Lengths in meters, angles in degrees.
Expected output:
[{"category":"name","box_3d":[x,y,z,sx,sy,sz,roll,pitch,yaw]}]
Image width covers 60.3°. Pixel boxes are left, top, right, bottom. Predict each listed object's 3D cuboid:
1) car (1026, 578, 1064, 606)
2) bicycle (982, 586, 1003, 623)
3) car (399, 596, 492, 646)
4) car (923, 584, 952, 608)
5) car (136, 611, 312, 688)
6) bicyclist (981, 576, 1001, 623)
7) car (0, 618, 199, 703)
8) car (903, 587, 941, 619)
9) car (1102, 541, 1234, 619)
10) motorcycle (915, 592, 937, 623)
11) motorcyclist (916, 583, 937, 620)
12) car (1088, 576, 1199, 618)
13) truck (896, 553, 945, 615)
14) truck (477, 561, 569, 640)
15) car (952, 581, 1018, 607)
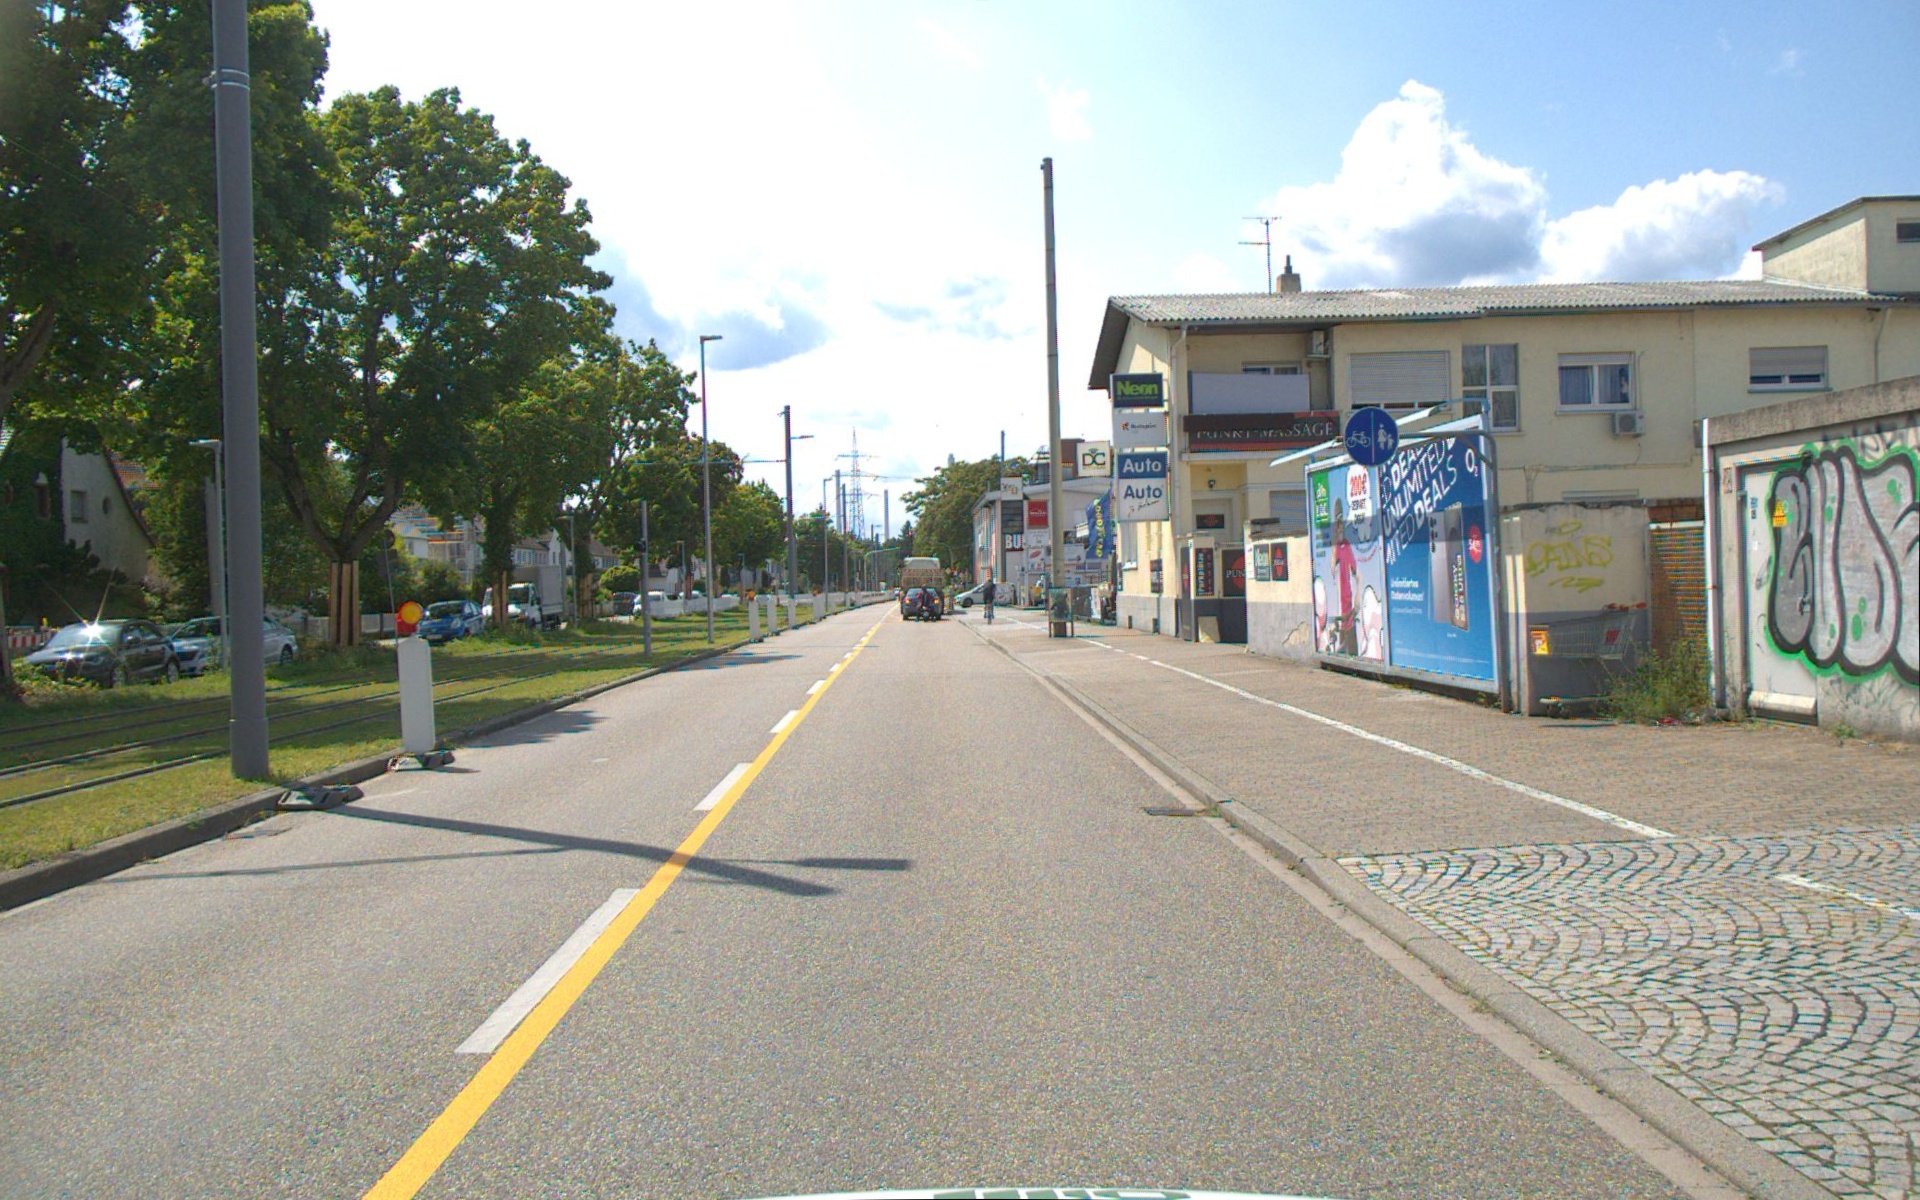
[{"category":"car","box_3d":[5.402,-0.516,105.830,1.920,1.677,3.997,-3,0,-4]},{"category":"bicycle","box_3d":[1.242,0.164,63.724,0.679,1.385,2.418,-2,0,-2]},{"category":"car","box_3d":[-16.950,0.677,54.698,1.954,1.478,3.997,-3,0,-3]},{"category":"car","box_3d":[-1.479,-0.253,108.032,1.785,1.489,3.999,-1,0,-1]},{"category":"car","box_3d":[-16.432,1.046,37.208,1.768,1.508,4.938,-3,0,-1]},{"category":"bicyclist","box_3d":[1.190,-0.024,63.738,0.658,1.774,0.813,-2,0,-2]},{"category":"car","box_3d":[-16.384,1.110,31.554,1.954,1.340,3.851,-4,0,-2]},{"category":"car","box_3d":[-1.814,0.139,78.822,1.785,1.449,3.999,-1,0,-1]},{"category":"car","box_3d":[7.464,-0.722,59.785,4.444,2.618,2.151,-2,0,0]},{"category":"motorcycle","box_3d":[-1.534,0.336,74.355,0.920,1.343,2.644,0,0,-1]},{"category":"motorcyclist","box_3d":[-1.525,0.063,74.174,0.920,1.643,1.204,0,0,-2]},{"category":"car","box_3d":[6.930,-0.112,62.691,4.095,1.456,1.821,-2,0,5]},{"category":"truck","box_3d":[-2.209,-0.993,94.794,2.557,3.312,9.181,-2,1,-1]},{"category":"truck","box_3d":[-17.275,-0.016,65.695,1.954,2.815,6.274,-5,1,-2]},{"category":"car","box_3d":[1.747,-0.427,116.206,4.251,1.578,1.945,-3,0,-10]}]
